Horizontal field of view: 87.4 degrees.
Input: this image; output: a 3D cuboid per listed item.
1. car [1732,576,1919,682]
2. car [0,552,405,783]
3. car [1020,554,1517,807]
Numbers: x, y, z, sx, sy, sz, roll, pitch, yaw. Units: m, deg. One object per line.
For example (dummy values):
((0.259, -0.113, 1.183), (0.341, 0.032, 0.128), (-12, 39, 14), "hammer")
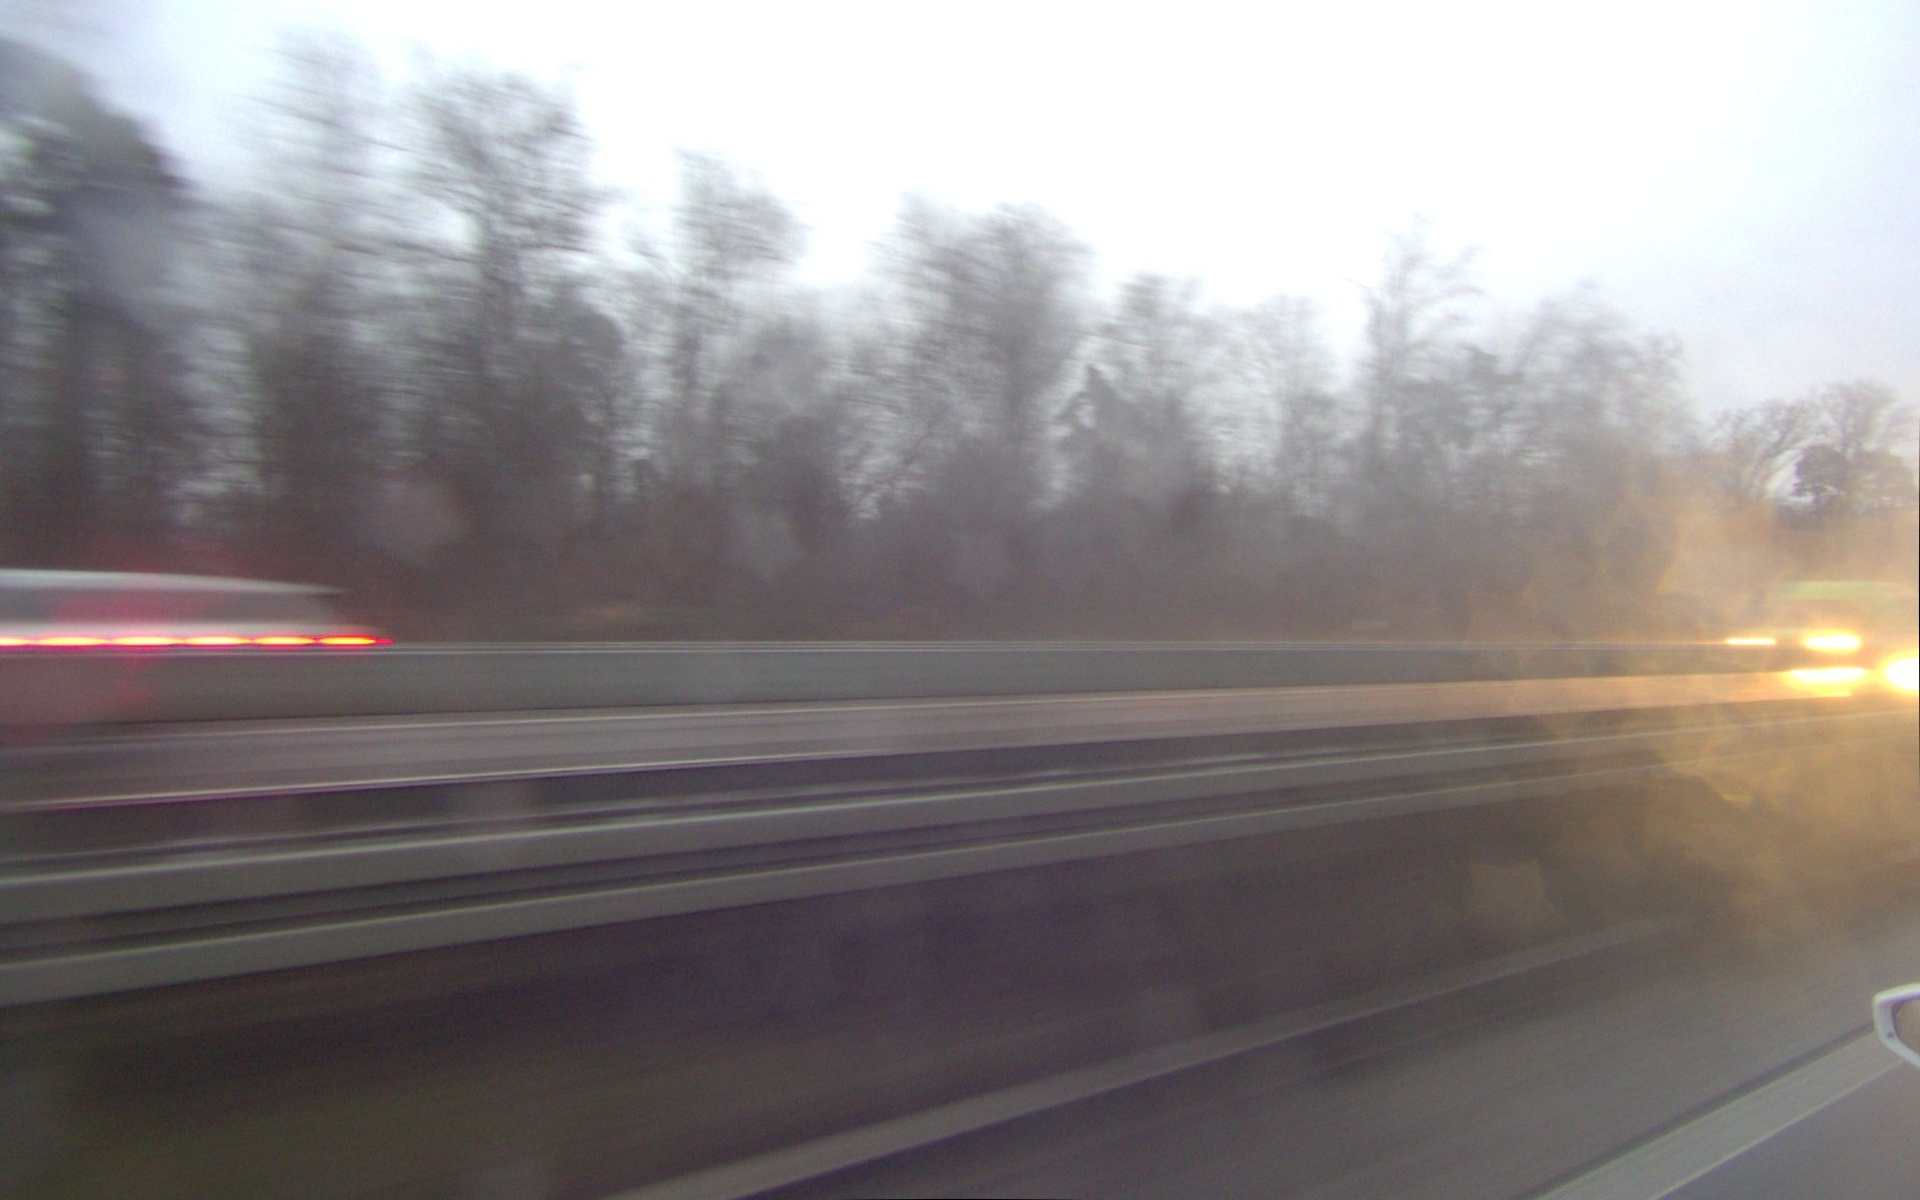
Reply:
((23.509, 0.775, 27.168), (6.302, 2.602, 1.993), (1, 0, -31), "car")
((-7.657, 0.501, 8.238), (5.383, 1.717, 1.868), (1, 0, -29), "car")
((2.704, 0.547, 8.682), (3.953, 1.729, 1.895), (1, 2, -30), "car")
